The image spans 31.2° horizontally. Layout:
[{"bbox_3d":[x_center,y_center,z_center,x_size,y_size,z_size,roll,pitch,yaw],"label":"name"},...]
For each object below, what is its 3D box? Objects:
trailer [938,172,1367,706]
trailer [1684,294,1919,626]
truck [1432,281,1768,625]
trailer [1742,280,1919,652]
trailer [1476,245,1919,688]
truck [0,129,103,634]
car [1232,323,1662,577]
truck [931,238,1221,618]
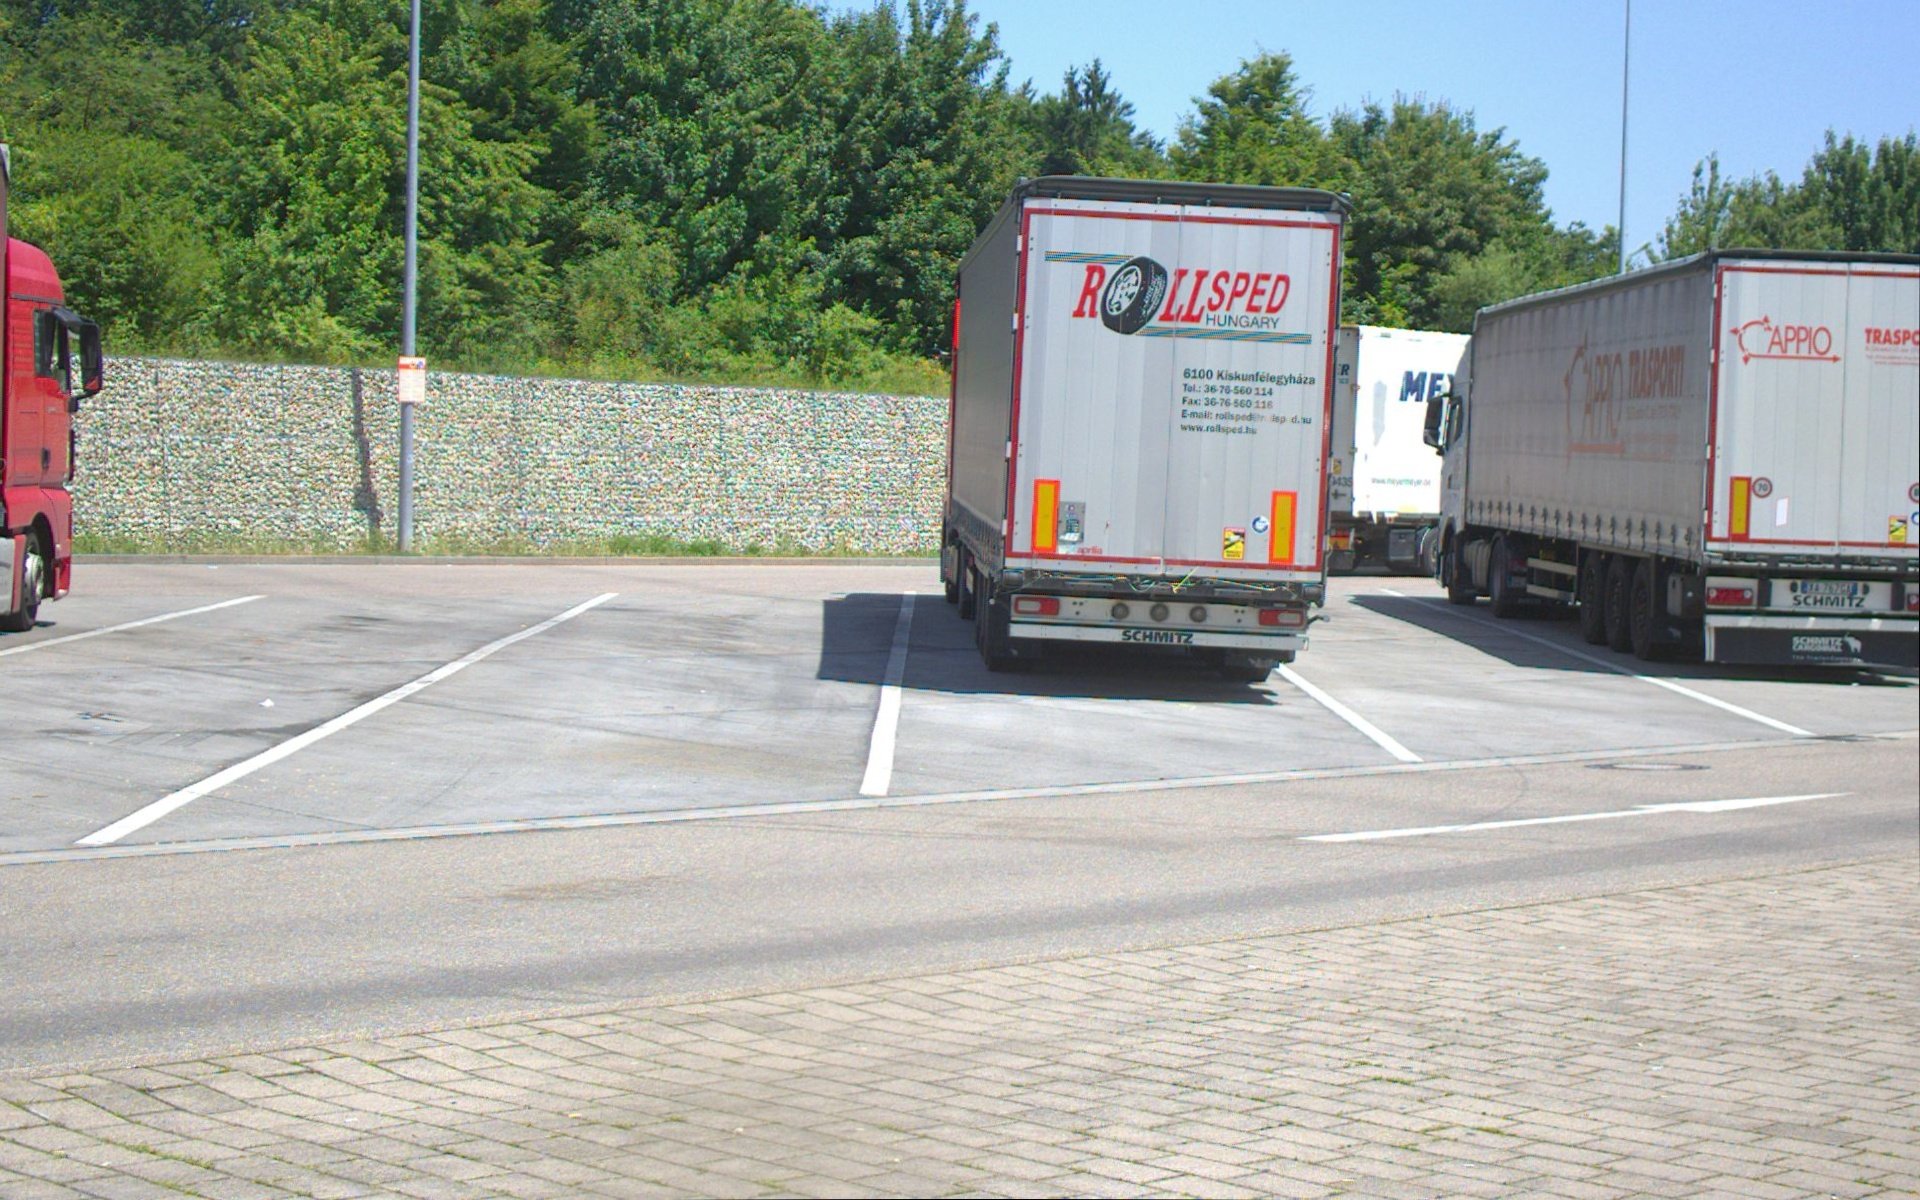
[{"bbox_3d":[1.432,-1.631,33.595,2.866,4.023,14.243,2,3,-2],"label":"trailer"},{"bbox_3d":[11.783,-1.874,45.412,2.866,4.023,6.571,2,3,0],"label":"trailer"},{"bbox_3d":[8.119,-1.943,44.558,2.866,4.023,6.957,2,3,0],"label":"truck"},{"bbox_3d":[11.832,-1.520,38.995,2.866,4.023,12.439,2,3,0],"label":"trailer"},{"bbox_3d":[8.177,-1.561,37.931,2.866,4.023,12.439,2,3,0],"label":"trailer"},{"bbox_3d":[-9.157,-1.810,27.958,2.696,4.099,6.240,2,3,0],"label":"truck"},{"bbox_3d":[8.511,-2.525,59.228,2.687,4.030,8.446,6,5,44],"label":"car"},{"bbox_3d":[1.221,-2.050,40.674,2.866,4.023,7.028,2,3,-2],"label":"truck"}]
